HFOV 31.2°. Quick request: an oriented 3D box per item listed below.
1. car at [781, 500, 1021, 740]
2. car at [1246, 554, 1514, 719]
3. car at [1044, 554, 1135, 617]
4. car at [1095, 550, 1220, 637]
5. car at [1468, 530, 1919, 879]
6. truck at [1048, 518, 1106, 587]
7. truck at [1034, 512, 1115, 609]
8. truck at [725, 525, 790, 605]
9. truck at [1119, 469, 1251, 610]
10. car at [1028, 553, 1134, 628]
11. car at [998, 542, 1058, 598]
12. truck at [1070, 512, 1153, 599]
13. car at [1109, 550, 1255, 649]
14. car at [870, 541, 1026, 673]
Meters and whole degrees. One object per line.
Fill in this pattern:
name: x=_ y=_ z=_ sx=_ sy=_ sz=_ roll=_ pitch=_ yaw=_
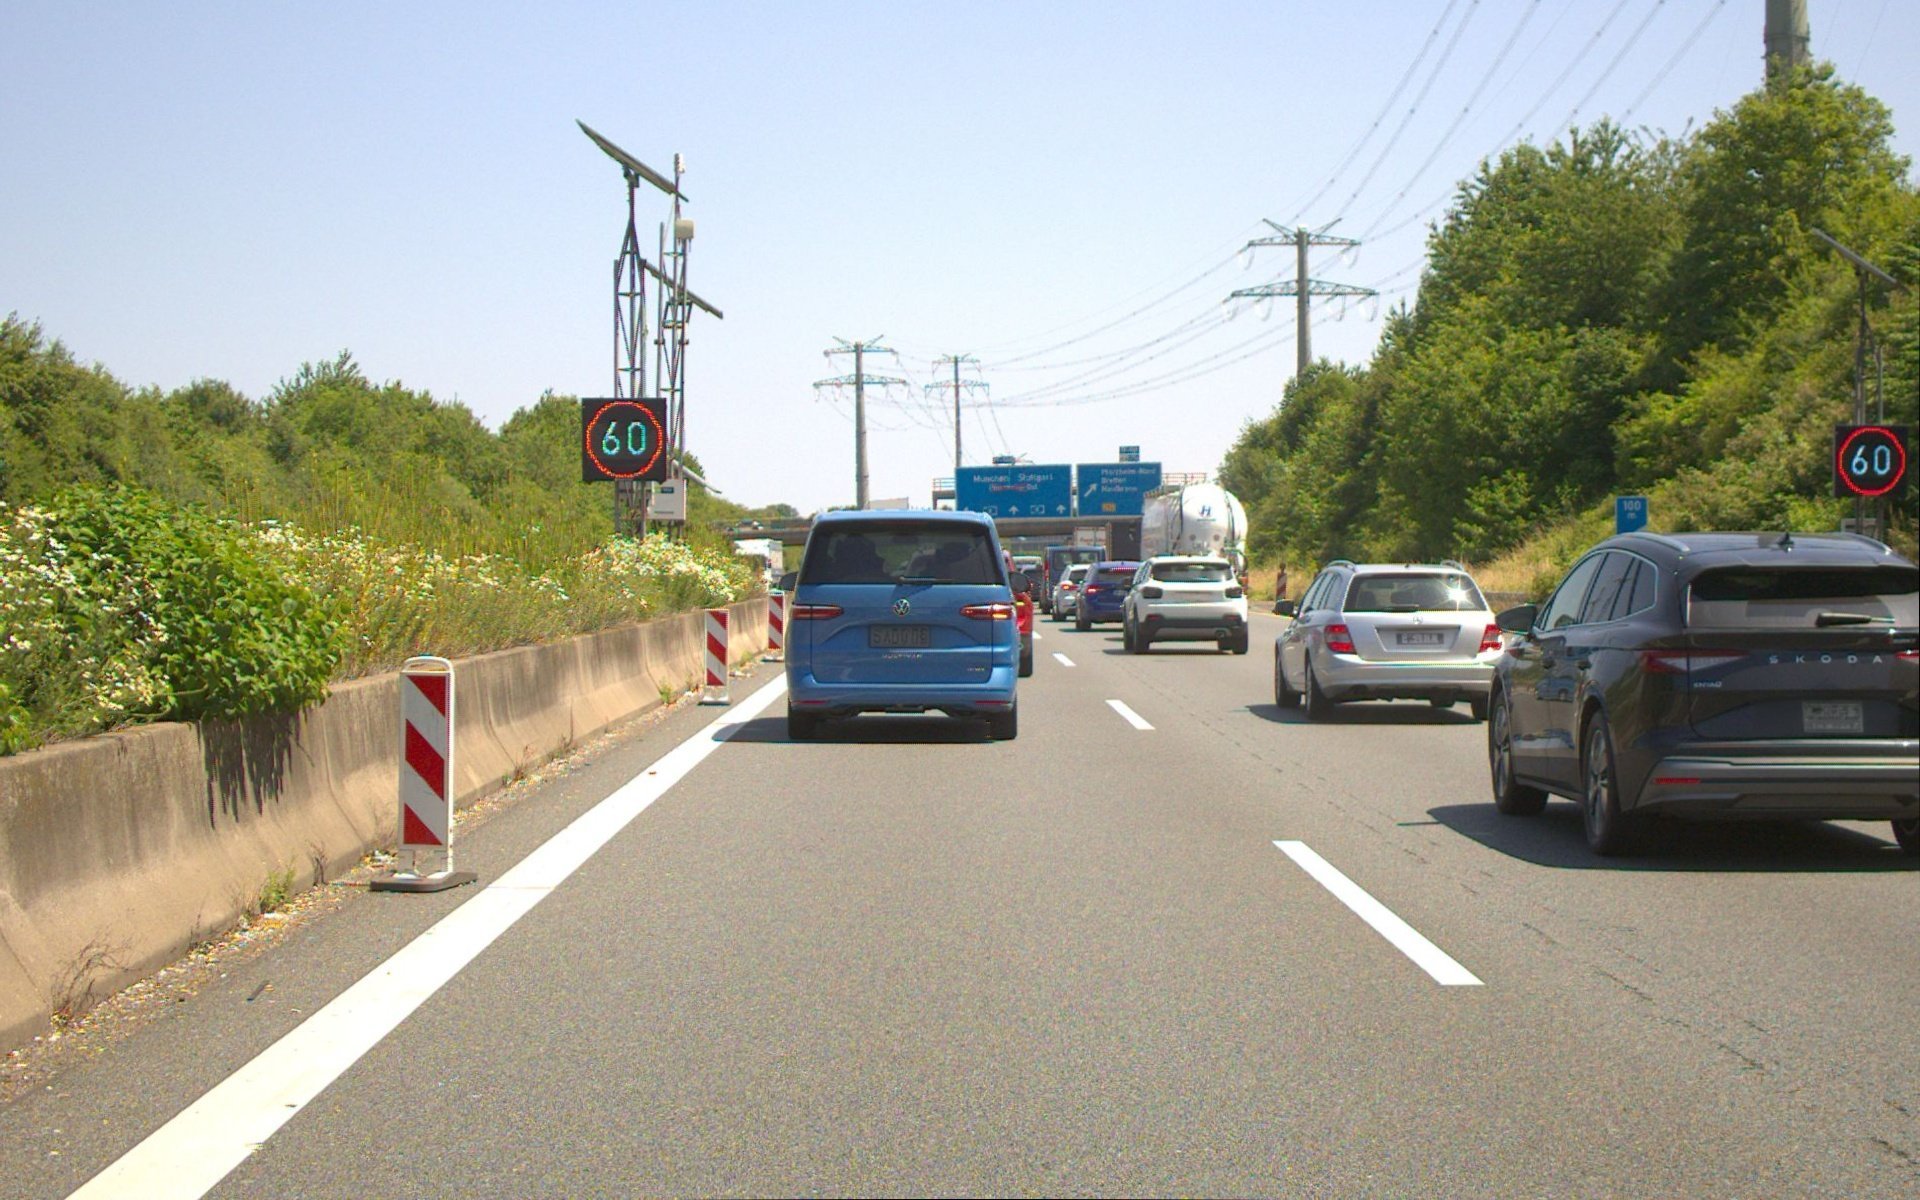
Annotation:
car: x=-0.559 y=0.133 z=29.431 sx=1.871 sy=1.873 sz=4.384 roll=1 pitch=1 yaw=-2
car: x=3.885 y=0.297 z=32.522 sx=1.821 sy=1.432 sz=4.384 roll=1 pitch=1 yaw=-2
car: x=3.205 y=-0.375 z=85.689 sx=1.908 sy=1.511 sz=4.384 roll=1 pitch=1 yaw=-2
car: x=3.688 y=-0.143 z=64.845 sx=1.908 sy=1.564 sz=4.384 roll=1 pitch=1 yaw=-2
car: x=3.972 y=0.446 z=18.158 sx=1.828 sy=1.609 sz=4.431 roll=0 pitch=1 yaw=-1
truck: x=7.419 y=-3.024 z=220.025 sx=2.938 sy=4.276 sz=12.553 roll=1 pitch=1 yaw=-1
truck: x=3.299 y=-1.140 z=100.082 sx=1.993 sy=2.714 sz=5.680 roll=1 pitch=1 yaw=-1
truck: x=-10.463 y=-1.847 z=178.681 sx=2.762 sy=3.875 sz=9.030 roll=-3 pitch=1 yaw=-1
truck: x=6.895 y=-1.851 z=107.749 sx=2.644 sy=4.058 sz=16.442 roll=1 pitch=1 yaw=-1
car: x=2.527 y=-0.230 z=72.740 sx=1.908 sy=1.511 sz=4.384 roll=1 pitch=1 yaw=-2
car: x=2.460 y=-1.107 z=125.643 sx=1.993 sy=2.007 sz=4.000 roll=1 pitch=1 yaw=-1
truck: x=6.410 y=-1.905 z=147.203 sx=2.644 sy=3.526 sz=12.553 roll=1 pitch=1 yaw=-1
car: x=3.505 y=-0.035 z=54.882 sx=1.908 sy=1.503 sz=3.922 roll=1 pitch=1 yaw=-2
car: x=-0.197 y=0.059 z=44.383 sx=1.908 sy=1.625 sz=4.384 roll=0 pitch=1 yaw=-1
